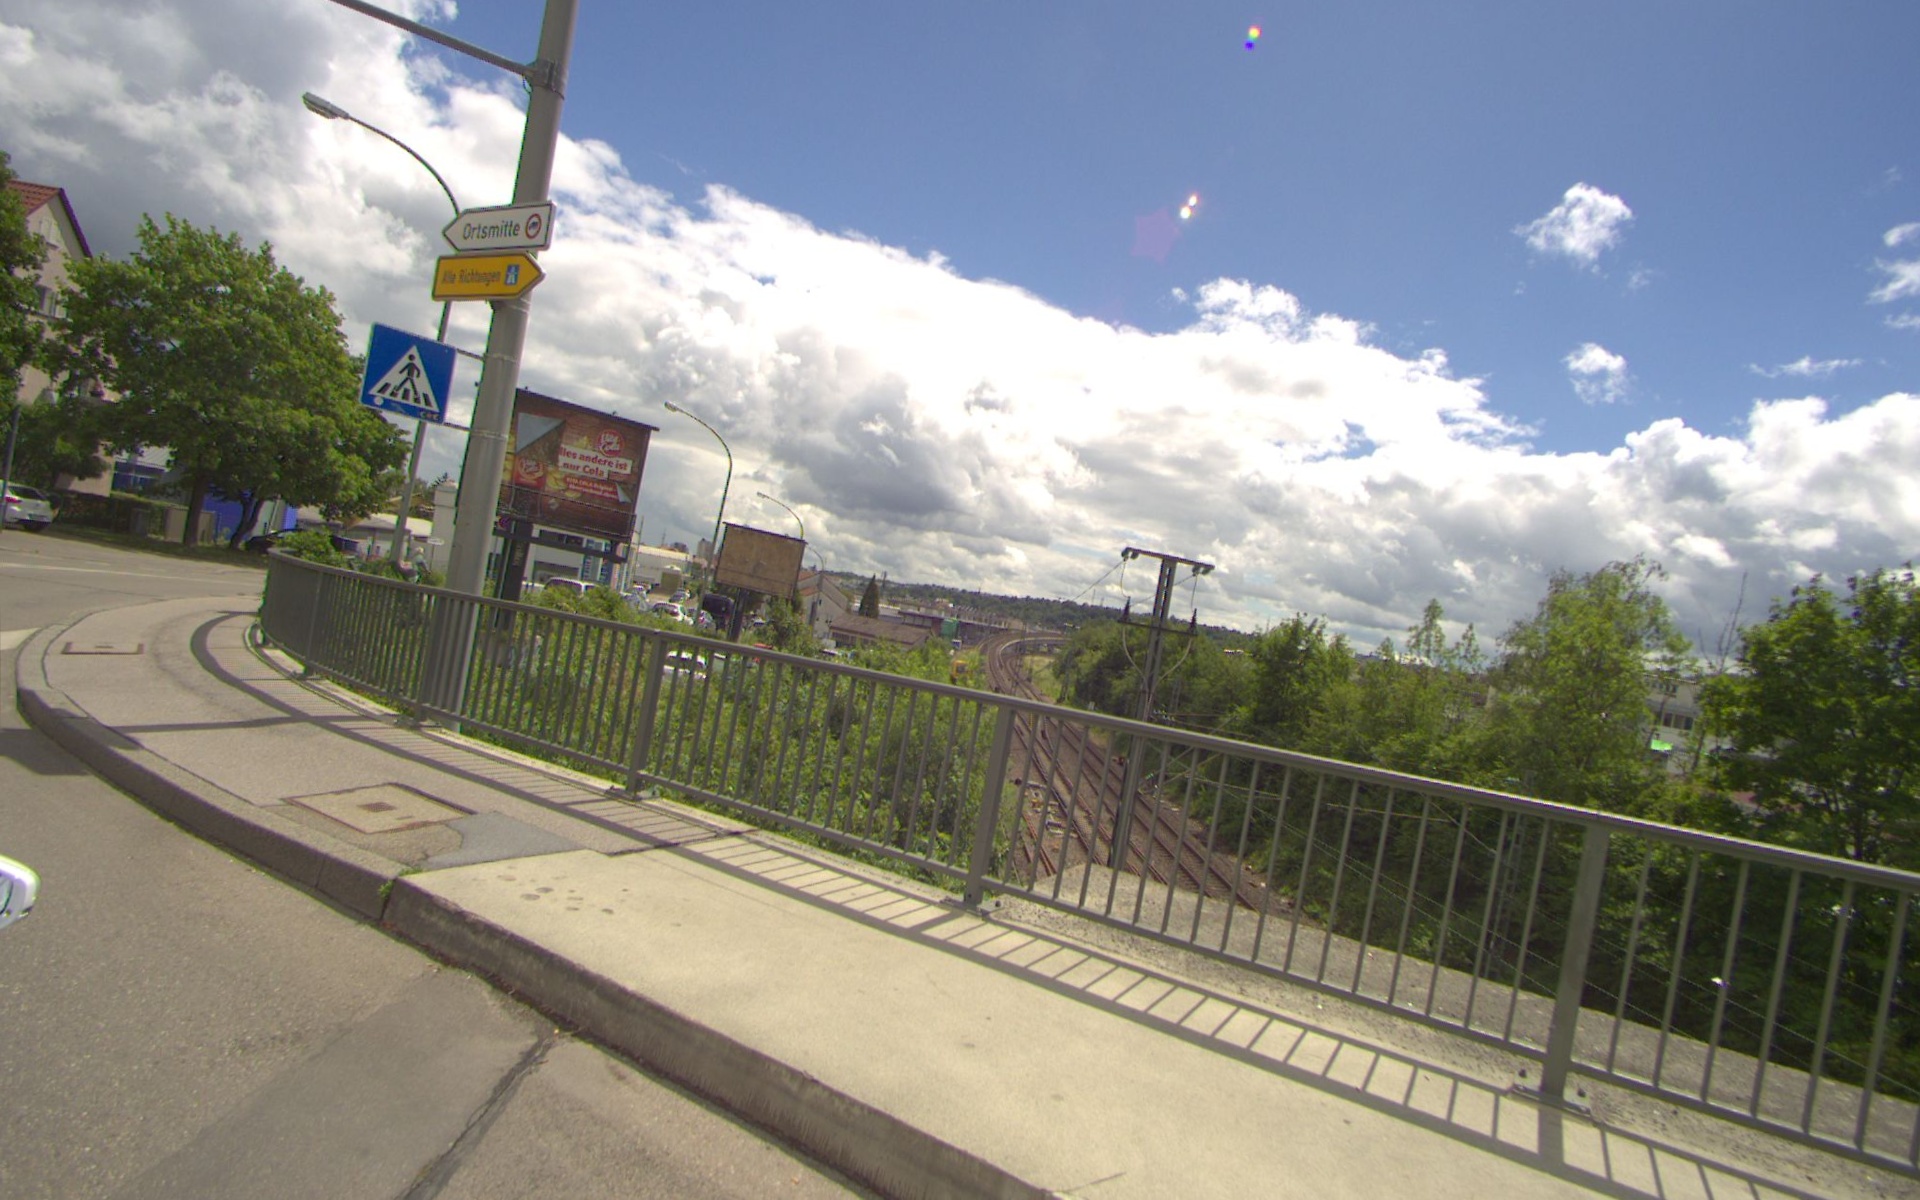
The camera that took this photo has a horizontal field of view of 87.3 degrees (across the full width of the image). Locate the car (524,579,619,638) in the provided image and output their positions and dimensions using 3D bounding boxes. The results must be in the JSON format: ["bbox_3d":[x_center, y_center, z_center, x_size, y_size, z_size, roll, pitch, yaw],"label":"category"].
[{"bbox_3d":[-14.545,0.376,37.925,1.681,1.695,4.313,11,-3,0],"label":"car"}]

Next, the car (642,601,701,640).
[{"bbox_3d":[-14.409,1.055,50.421,1.681,1.494,3.961,11,-3,-1],"label":"car"}]

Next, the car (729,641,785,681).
[{"bbox_3d":[-9.631,2.906,47.968,1.681,1.526,3.700,11,-3,0],"label":"car"}]

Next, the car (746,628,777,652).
[{"bbox_3d":[-14.927,3.056,75.729,1.767,1.522,2.909,8,-4,-3],"label":"car"}]

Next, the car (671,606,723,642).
[{"bbox_3d":[-14.460,1.353,55.545,1.681,1.526,3.700,11,-3,0],"label":"car"}]

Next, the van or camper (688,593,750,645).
[{"bbox_3d":[-14.713,1.249,61.835,2.093,2.611,5.925,9,-4,0],"label":"van or camper"}]

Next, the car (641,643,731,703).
[{"bbox_3d":[-8.673,2.304,32.135,1.681,1.526,3.512,11,-3,0],"label":"car"}]

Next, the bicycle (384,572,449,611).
[{"bbox_3d":[-16.099,-0.237,29.846,0.677,0.887,2.105,8,-4,0],"label":"bicycle"}]

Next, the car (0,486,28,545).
[{"bbox_3d":[-26.438,-2.580,25.215,4.071,1.408,2.002,11,-3,0],"label":"car"}]

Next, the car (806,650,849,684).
[{"bbox_3d":[-7.496,3.796,57.201,1.681,1.526,4.534,11,-3,0],"label":"car"}]

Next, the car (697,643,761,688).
[{"bbox_3d":[-9.551,2.718,41.853,1.681,1.526,3.512,11,-3,0],"label":"car"}]

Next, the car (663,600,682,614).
[{"bbox_3d":[-33.966,0.836,118.988,1.649,1.337,3.715,10,-5,-11],"label":"car"}]

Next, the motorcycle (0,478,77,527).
[{"bbox_3d":[-34.385,-3.589,37.437,0.904,1.329,2.238,11,-3,-1],"label":"motorcycle"}]

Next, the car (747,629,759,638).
[{"bbox_3d":[-38.155,6.198,185.415,1.968,1.479,3.996,9,-4,-12],"label":"car"}]

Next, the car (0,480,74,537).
[{"bbox_3d":[-30.484,-3.112,31.296,3.864,1.419,1.877,10,-3,-4],"label":"car"}]

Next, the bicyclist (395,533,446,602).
[{"bbox_3d":[-16.000,-0.943,29.850,0.674,1.845,1.082,8,-3,0],"label":"bicyclist"}]

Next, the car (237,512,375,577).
[{"bbox_3d":[-29.459,-2.477,45.440,4.631,1.732,2.004,11,-5,-1],"label":"car"}]
